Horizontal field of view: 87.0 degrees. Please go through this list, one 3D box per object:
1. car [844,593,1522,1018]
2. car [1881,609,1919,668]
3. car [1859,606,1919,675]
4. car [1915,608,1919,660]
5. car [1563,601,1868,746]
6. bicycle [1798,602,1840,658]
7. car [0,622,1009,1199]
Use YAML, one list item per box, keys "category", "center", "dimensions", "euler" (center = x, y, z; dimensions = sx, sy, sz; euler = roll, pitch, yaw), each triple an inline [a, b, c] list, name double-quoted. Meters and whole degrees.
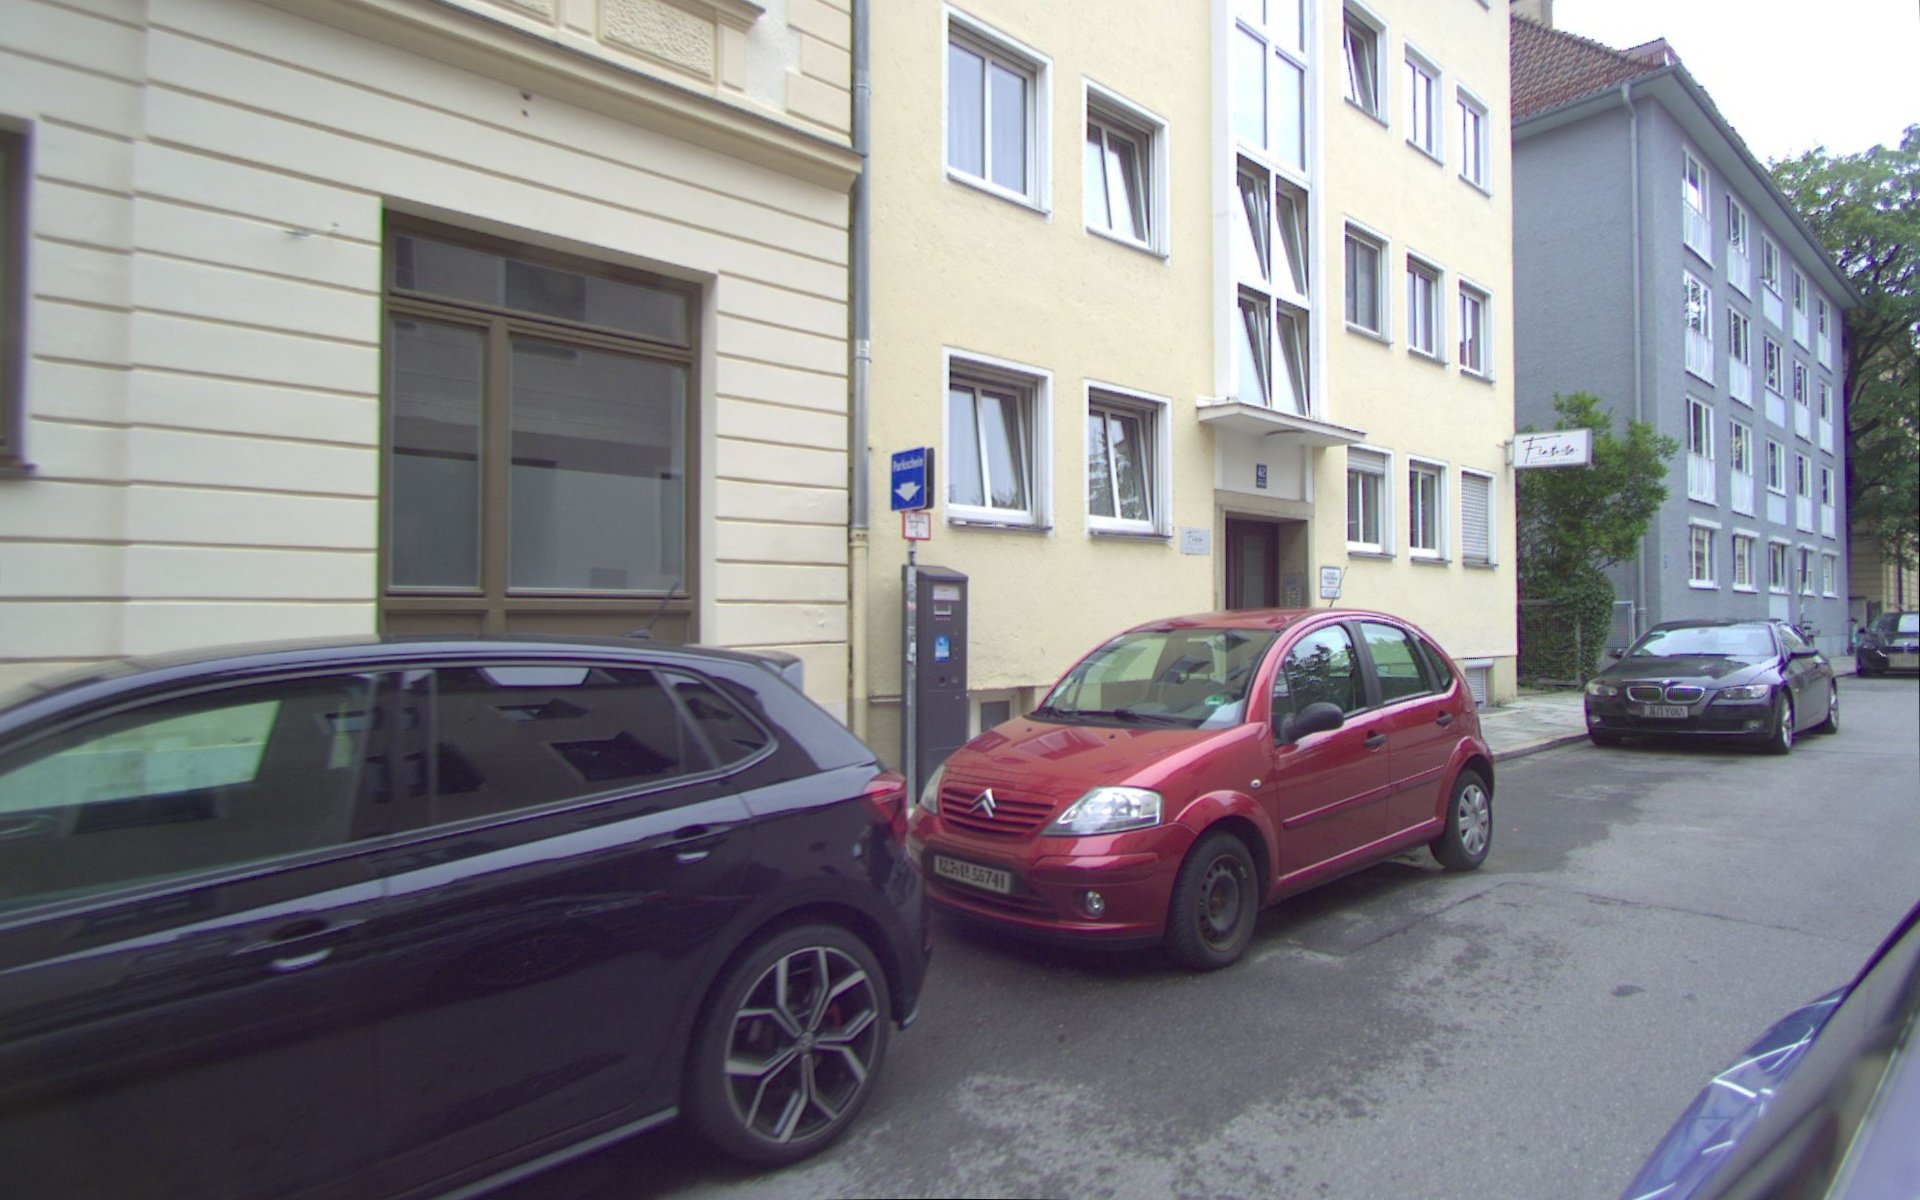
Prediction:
- category: "car"
  center: [1.406, 0.753, 5.505]
  dimensions: [3.785, 1.511, 1.679]
  euler: [1, -1, -41]
- category: "car"
  center: [25.261, 0.935, 25.908]
  dimensions: [4.405, 1.420, 1.792]
  euler: [0, -4, -40]
- category: "car"
  center: [21.747, 0.863, 22.717]
  dimensions: [4.191, 1.447, 1.842]
  euler: [1, -5, -43]
- category: "car"
  center: [29.078, 0.920, 29.094]
  dimensions: [4.266, 1.465, 1.771]
  euler: [0, -4, -40]
- category: "car"
  center: [8.772, 0.765, 11.607]
  dimensions: [4.429, 1.352, 1.827]
  euler: [1, -5, -41]
- category: "bicycle"
  center: [23.768, 0.807, 27.989]
  dimensions: [2.239, 1.505, 0.515]
  euler: [1, -1, -40]
- category: "car"
  center: [-1.901, 0.779, 2.435]
  dimensions: [3.994, 1.411, 1.679]
  euler: [1, -1, -41]
